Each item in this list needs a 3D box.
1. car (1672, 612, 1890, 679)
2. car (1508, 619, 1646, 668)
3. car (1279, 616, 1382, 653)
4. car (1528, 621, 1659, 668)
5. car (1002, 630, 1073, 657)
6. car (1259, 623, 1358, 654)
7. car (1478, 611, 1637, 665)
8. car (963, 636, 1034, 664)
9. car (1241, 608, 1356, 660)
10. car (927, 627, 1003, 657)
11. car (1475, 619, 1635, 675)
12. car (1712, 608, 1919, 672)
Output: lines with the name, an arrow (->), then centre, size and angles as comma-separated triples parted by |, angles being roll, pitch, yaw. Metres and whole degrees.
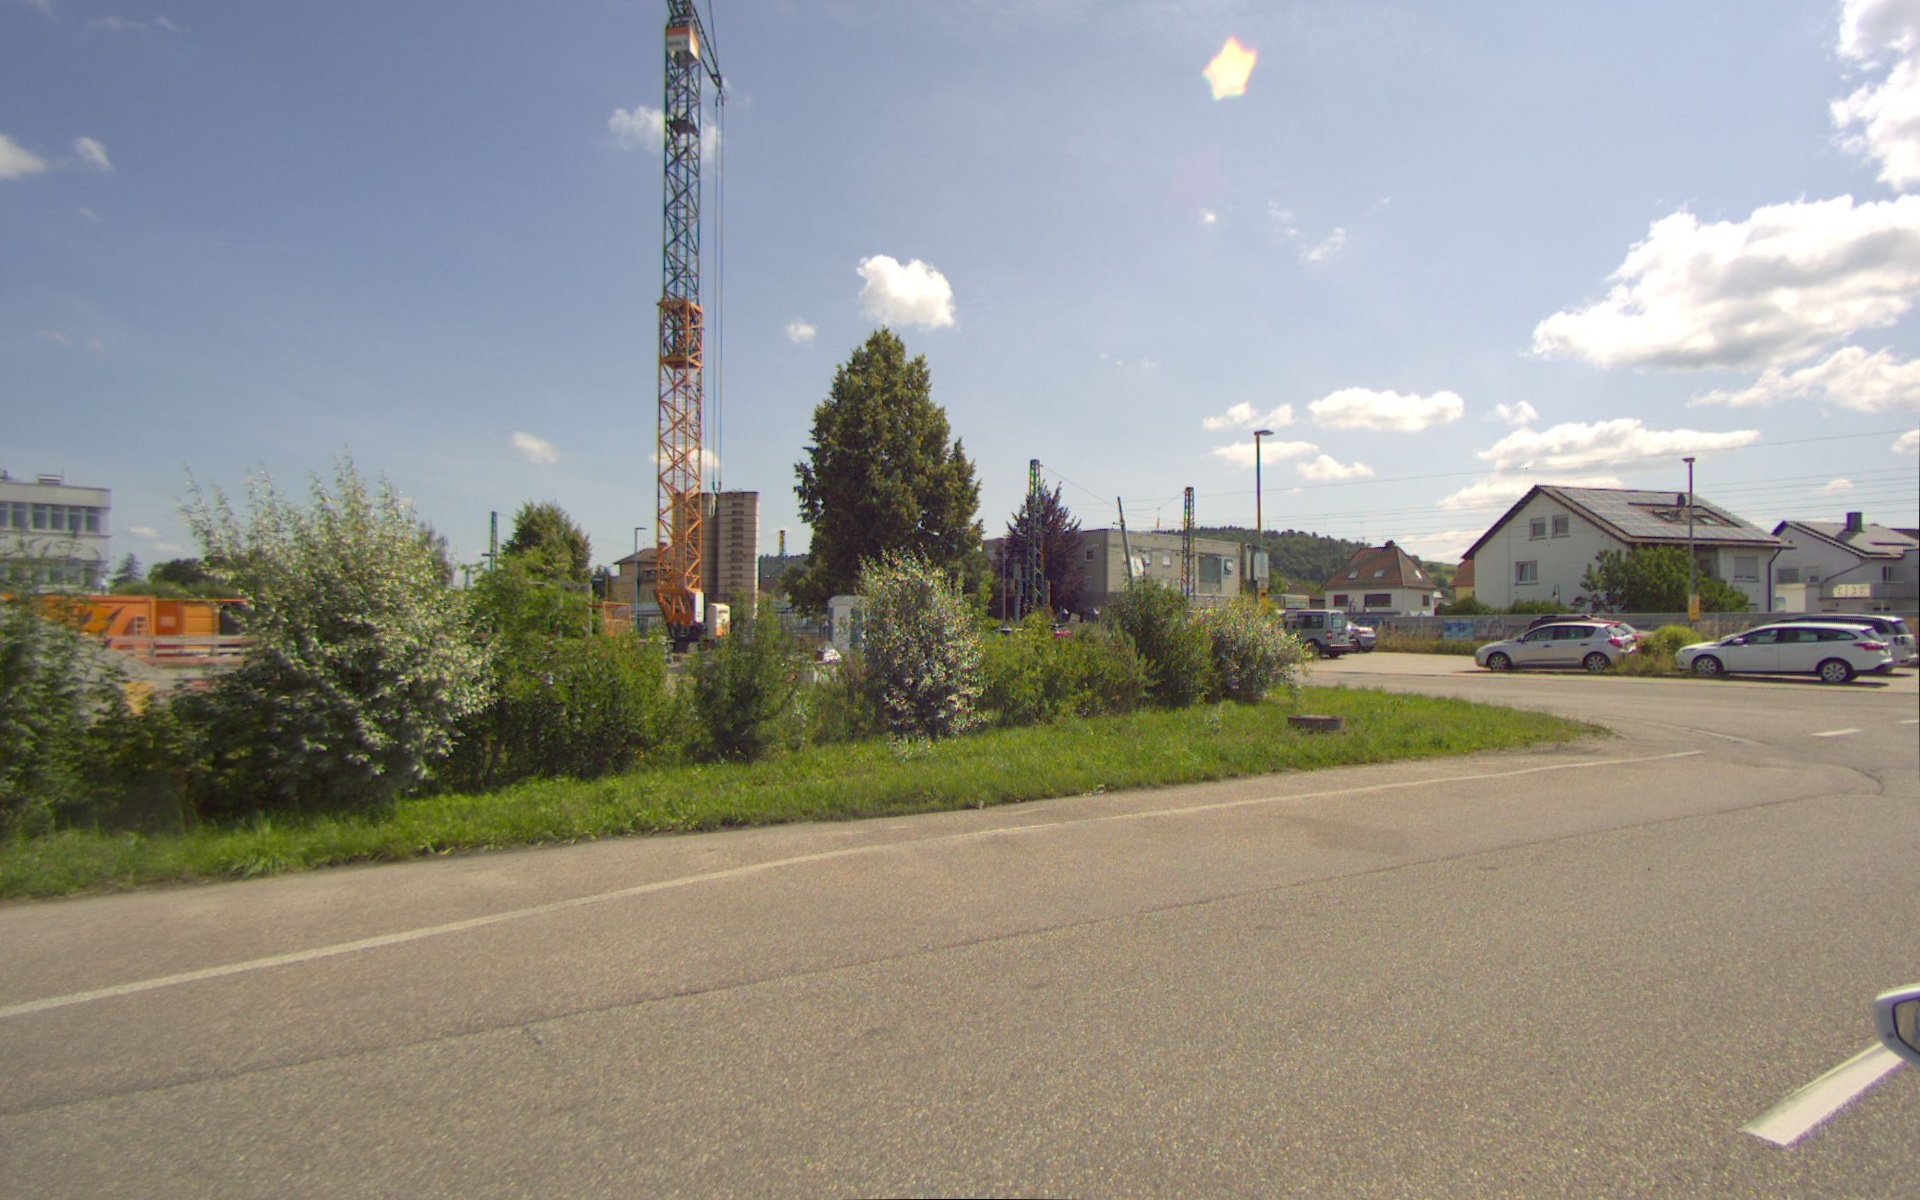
car -> 21.703, 1.159, 26.685 | 1.813, 1.496, 4.245 | 2, 0, -41
car -> 21.260, 1.458, 34.702 | 1.682, 1.579, 3.747 | 1, -2, -43
car -> 16.224, 1.501, 44.143 | 1.669, 1.439, 3.956 | 2, 0, -38
car -> 22.932, 1.560, 36.426 | 1.487, 1.610, 3.793 | 1, -2, -44
car -> 4.146, 2.322, 54.133 | 1.522, 1.331, 3.954 | 1, -2, -40
car -> 14.681, 1.589, 42.448 | 1.659, 1.238, 3.631 | 1, -2, -39
car -> 19.440, 1.260, 32.779 | 4.117, 1.660, 1.944 | -3, -3, 44
car -> 2.012, 2.606, 53.038 | 1.522, 1.331, 3.954 | 1, -2, -40
car -> 13.427, 1.288, 39.995 | 1.890, 1.840, 3.951 | 0, 1, -41
car -> 0.208, 2.142, 51.724 | 1.813, 1.477, 3.953 | 1, -2, -40
car -> 18.240, 1.390, 30.883 | 3.957, 1.582, 1.812 | 0, -2, 43
car -> 25.323, 1.119, 29.855 | 1.982, 1.713, 4.418 | 0, 0, -38
